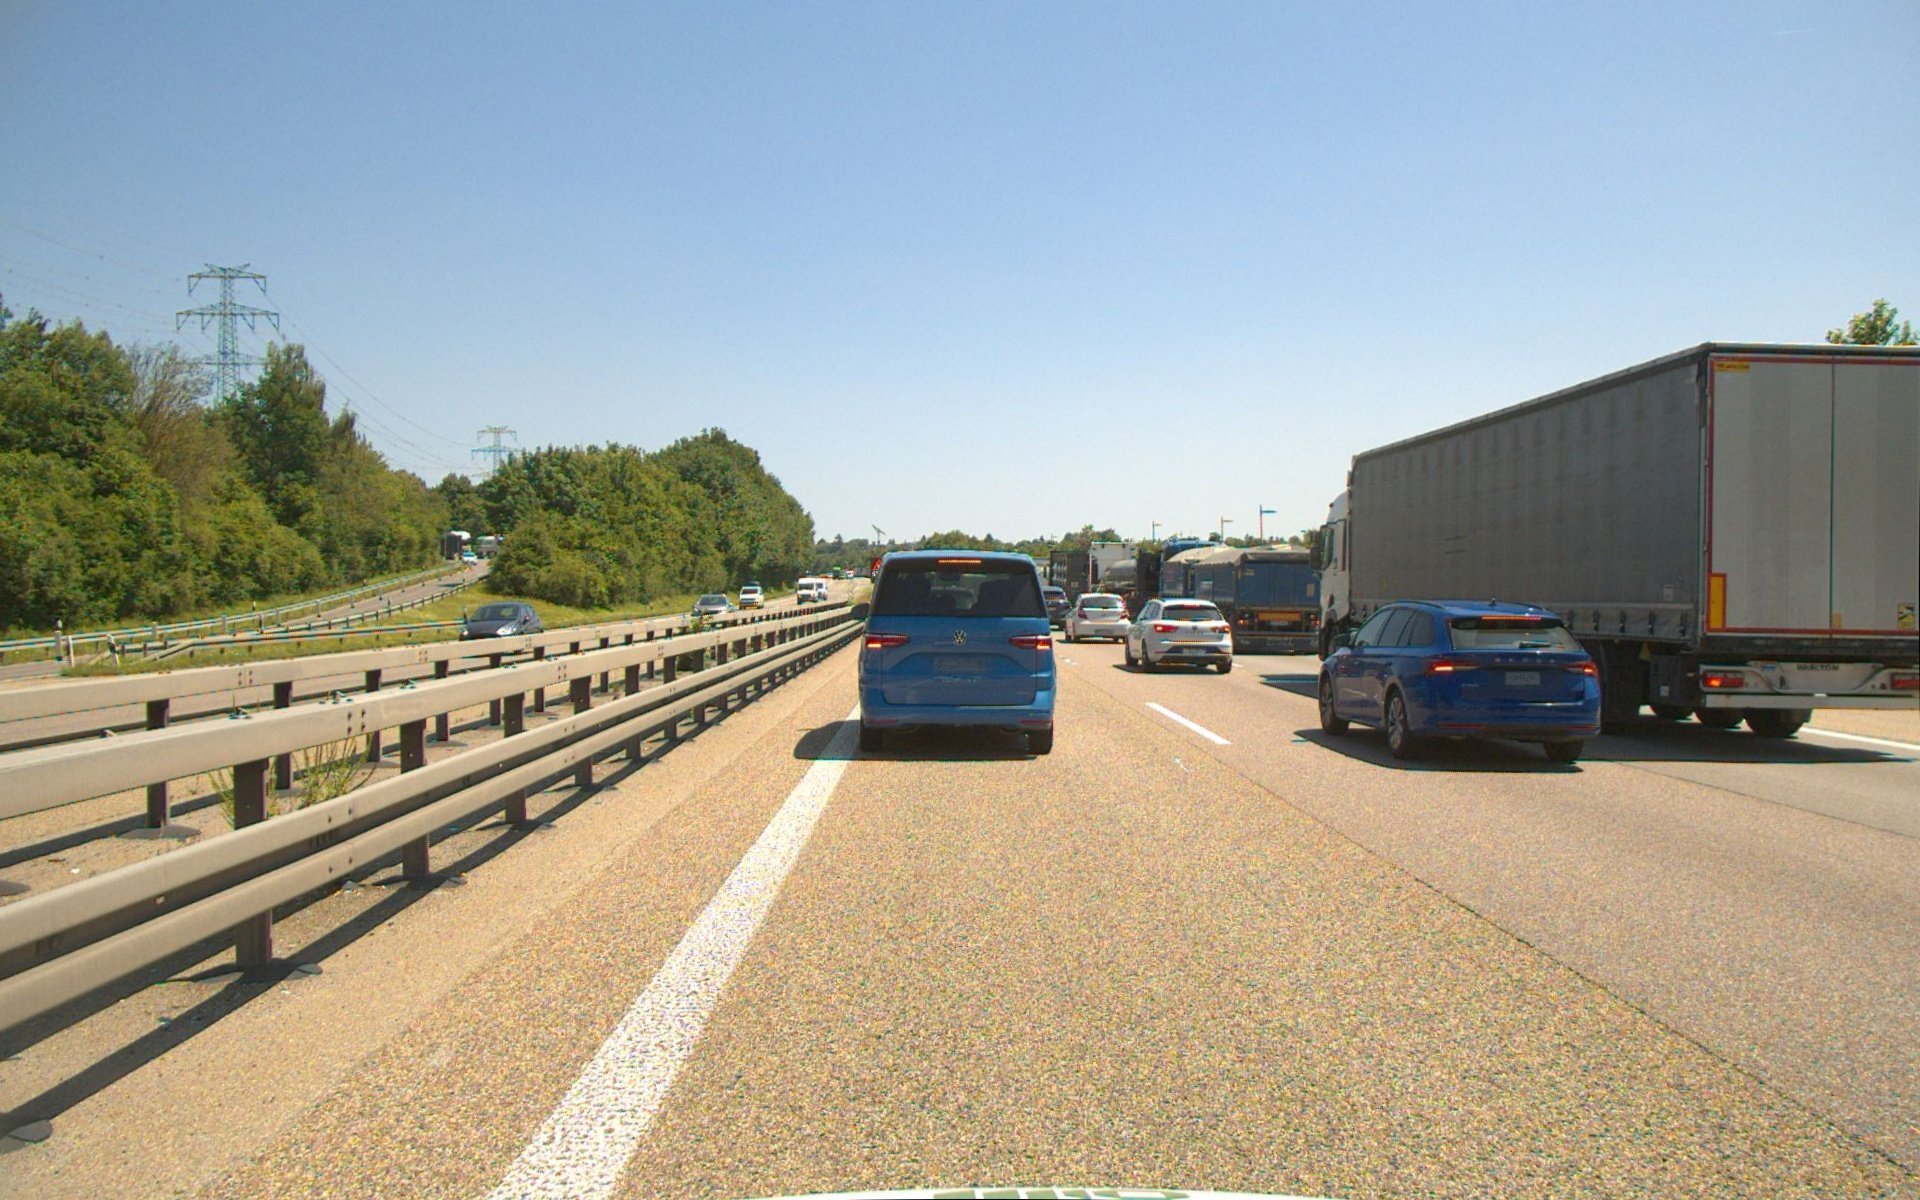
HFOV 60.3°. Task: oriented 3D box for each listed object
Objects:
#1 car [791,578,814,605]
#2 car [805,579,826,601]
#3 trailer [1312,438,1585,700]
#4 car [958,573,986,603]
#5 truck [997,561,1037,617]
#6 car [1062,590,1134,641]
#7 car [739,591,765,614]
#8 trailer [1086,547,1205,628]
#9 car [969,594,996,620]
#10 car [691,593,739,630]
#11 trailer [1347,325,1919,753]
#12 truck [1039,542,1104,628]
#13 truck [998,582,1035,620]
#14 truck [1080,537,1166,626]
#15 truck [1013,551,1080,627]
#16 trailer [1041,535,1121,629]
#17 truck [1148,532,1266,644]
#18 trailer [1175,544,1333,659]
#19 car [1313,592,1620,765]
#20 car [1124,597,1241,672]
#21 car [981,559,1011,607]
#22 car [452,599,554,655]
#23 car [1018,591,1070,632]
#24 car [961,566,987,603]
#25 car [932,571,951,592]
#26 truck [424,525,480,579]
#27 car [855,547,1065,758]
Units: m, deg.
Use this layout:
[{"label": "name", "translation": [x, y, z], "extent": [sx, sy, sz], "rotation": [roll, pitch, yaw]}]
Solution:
[{"label": "car", "translation": [-16.386, -0.818, 172.137], "extent": [2.011, 2.697, 5.837], "rotation": [-1, 0, -2]}, {"label": "car", "translation": [-17.612, -1.189, 202.298], "extent": [2.112, 2.639, 5.888], "rotation": [-1, 0, -1]}, {"label": "trailer", "translation": [8.376, -0.520, 29.276], "extent": [2.865, 4.114, 6.410], "rotation": [0, 0, -1]}, {"label": "car", "translation": [1.135, -1.118, 159.084], "extent": [2.499, 2.765, 5.619], "rotation": [1, 0, -1]}, {"label": "truck", "translation": [5.253, -0.920, 153.974], "extent": [3.006, 5.006, 10.687], "rotation": [1, 0, -1]}, {"label": "car", "translation": [4.214, 0.484, 50.997], "extent": [1.803, 1.480, 3.999], "rotation": [1, 0, -1]}, {"label": "car", "translation": [-18.722, 0.248, 148.873], "extent": [1.827, 1.938, 5.490], "rotation": [-2, 0, -2]}, {"label": "trailer", "translation": [7.882, -0.419, 72.738], "extent": [3.571, 3.133, 15.771], "rotation": [1, 0, 0]}, {"label": "car", "translation": [1.803, 0.542, 132.955], "extent": [1.953, 2.049, 3.999], "rotation": [1, 0, -1]}, {"label": "car", "translation": [-11.373, 0.538, 76.947], "extent": [1.737, 1.659, 3.949], "rotation": [1, 0, -2]}, {"label": "trailer", "translation": [8.484, -0.613, 22.850], "extent": [2.902, 4.120, 13.749], "rotation": [0, 0, -1]}, {"label": "truck", "translation": [7.081, -0.920, 105.779], "extent": [3.585, 5.270, 5.706], "rotation": [1, -1, -2]}, {"label": "truck", "translation": [2.878, 0.051, 85.311], "extent": [1.690, 1.890, 3.999], "rotation": [1, 0, -1]}, {"label": "truck", "translation": [7.918, -0.844, 81.428], "extent": [3.551, 4.166, 7.524], "rotation": [1, 0, 1]}, {"label": "truck", "translation": [6.336, -0.698, 124.395], "extent": [3.549, 5.304, 15.681], "rotation": [1, 0, -2]}, {"label": "trailer", "translation": [7.155, -0.965, 99.748], "extent": [3.572, 5.226, 13.072], "rotation": [1, 0, -1]}, {"label": "truck", "translation": [7.976, -0.436, 54.290], "extent": [2.688, 3.369, 7.132], "rotation": [1, 1, -1]}, {"label": "trailer", "translation": [8.096, -0.044, 46.768], "extent": [2.688, 2.886, 9.115], "rotation": [1, 1, -1]}, {"label": "car", "translation": [4.855, 0.695, 16.507], "extent": [1.671, 1.466, 4.427], "rotation": [1, 0, 0]}, {"label": "car", "translation": [4.419, 0.642, 33.306], "extent": [1.829, 1.385, 4.000], "rotation": [1, 0, 0]}, {"label": "car", "translation": [4.130, -1.858, 190.986], "extent": [3.153, 5.349, 8.142], "rotation": [1, -1, -1]}, {"label": "car", "translation": [-13.037, 0.761, 47.411], "extent": [1.838, 1.472, 4.143], "rotation": [-2, 0, -2]}, {"label": "car", "translation": [3.303, 0.443, 65.671], "extent": [1.745, 1.551, 3.999], "rotation": [1, 0, -1]}, {"label": "car", "translation": [2.046, -2.241, 247.961], "extent": [3.155, 5.349, 8.135], "rotation": [1, -1, -5]}, {"label": "car", "translation": [-2.970, -2.911, 264.111], "extent": [2.437, 3.260, 7.366], "rotation": [1, 0, -4]}, {"label": "truck", "translation": [-72.801, -6.767, 236.789], "extent": [4.624, 7.354, 13.497], "rotation": [1, -1, -31]}, {"label": "car", "translation": [0.018, 0.488, 16.859], "extent": [1.862, 1.870, 4.000], "rotation": [1, 0, 0]}]
